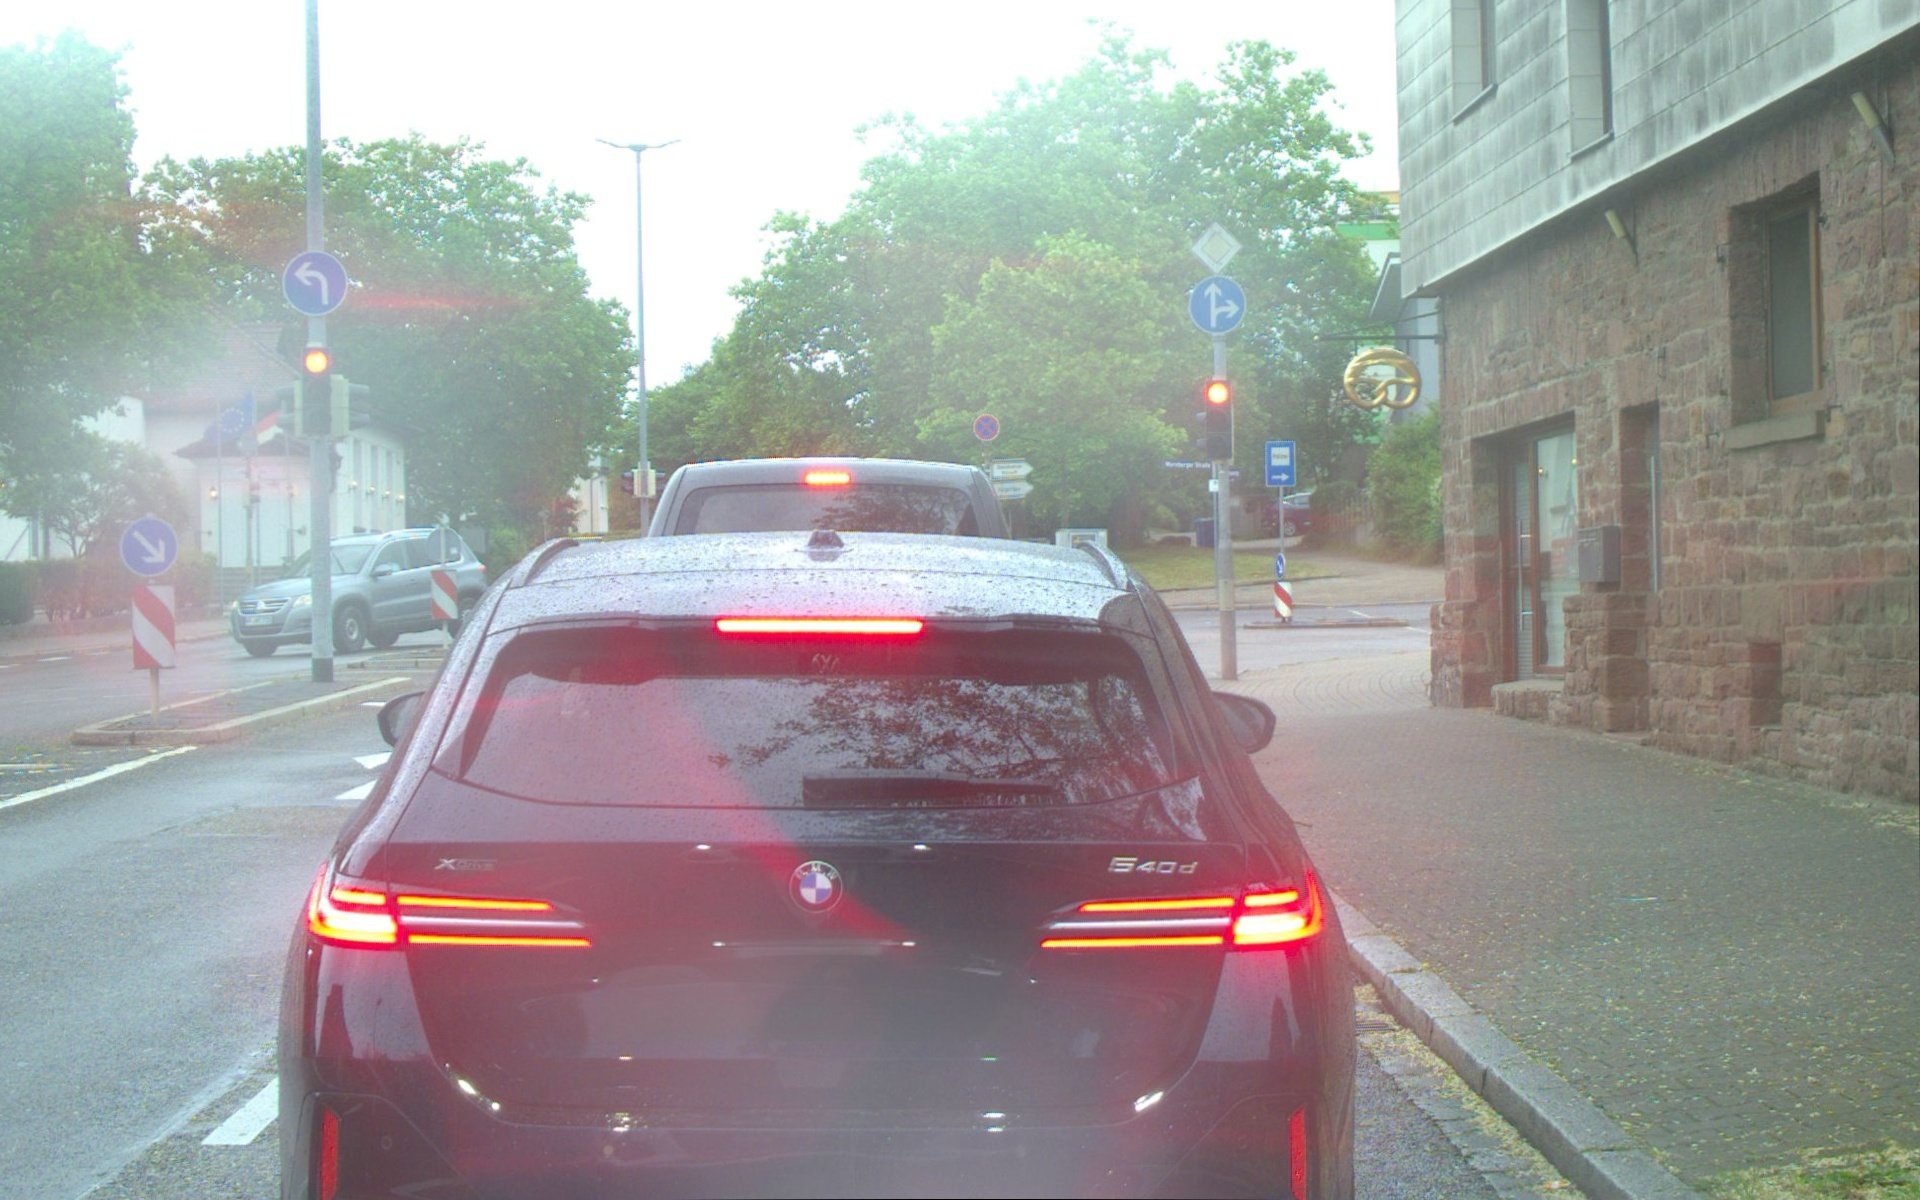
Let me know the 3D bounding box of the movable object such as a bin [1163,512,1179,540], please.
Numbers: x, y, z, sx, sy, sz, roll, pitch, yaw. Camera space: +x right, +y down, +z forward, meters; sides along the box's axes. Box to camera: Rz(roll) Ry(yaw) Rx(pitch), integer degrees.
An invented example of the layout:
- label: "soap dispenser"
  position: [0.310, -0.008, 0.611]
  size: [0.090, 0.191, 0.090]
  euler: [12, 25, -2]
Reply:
- label: "movable object such as a bin"
  position: [7.070, -2.478, 115.257]
  size: [0.450, 0.902, 0.462]
  euler: [1, 0, 15]

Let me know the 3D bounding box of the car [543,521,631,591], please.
- label: "car"
  position: [-9.038, -1.091, 83.571]
  size: [1.898, 1.572, 4.503]
  euler: [-1, 2, -4]

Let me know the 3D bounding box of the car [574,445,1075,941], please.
- label: "car"
  position: [-0.609, 0.326, 14.497]
  size: [1.812, 1.802, 3.757]
  euler: [1, 0, -4]

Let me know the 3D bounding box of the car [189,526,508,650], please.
- label: "car"
  position: [-8.573, -0.190, 48.552]
  size: [1.912, 1.585, 4.309]
  euler: [-1, 1, 35]

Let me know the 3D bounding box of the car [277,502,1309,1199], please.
- label: "car"
  position: [-0.354, 0.612, 6.888]
  size: [1.523, 1.529, 3.532]
  euler: [1, 0, -4]
